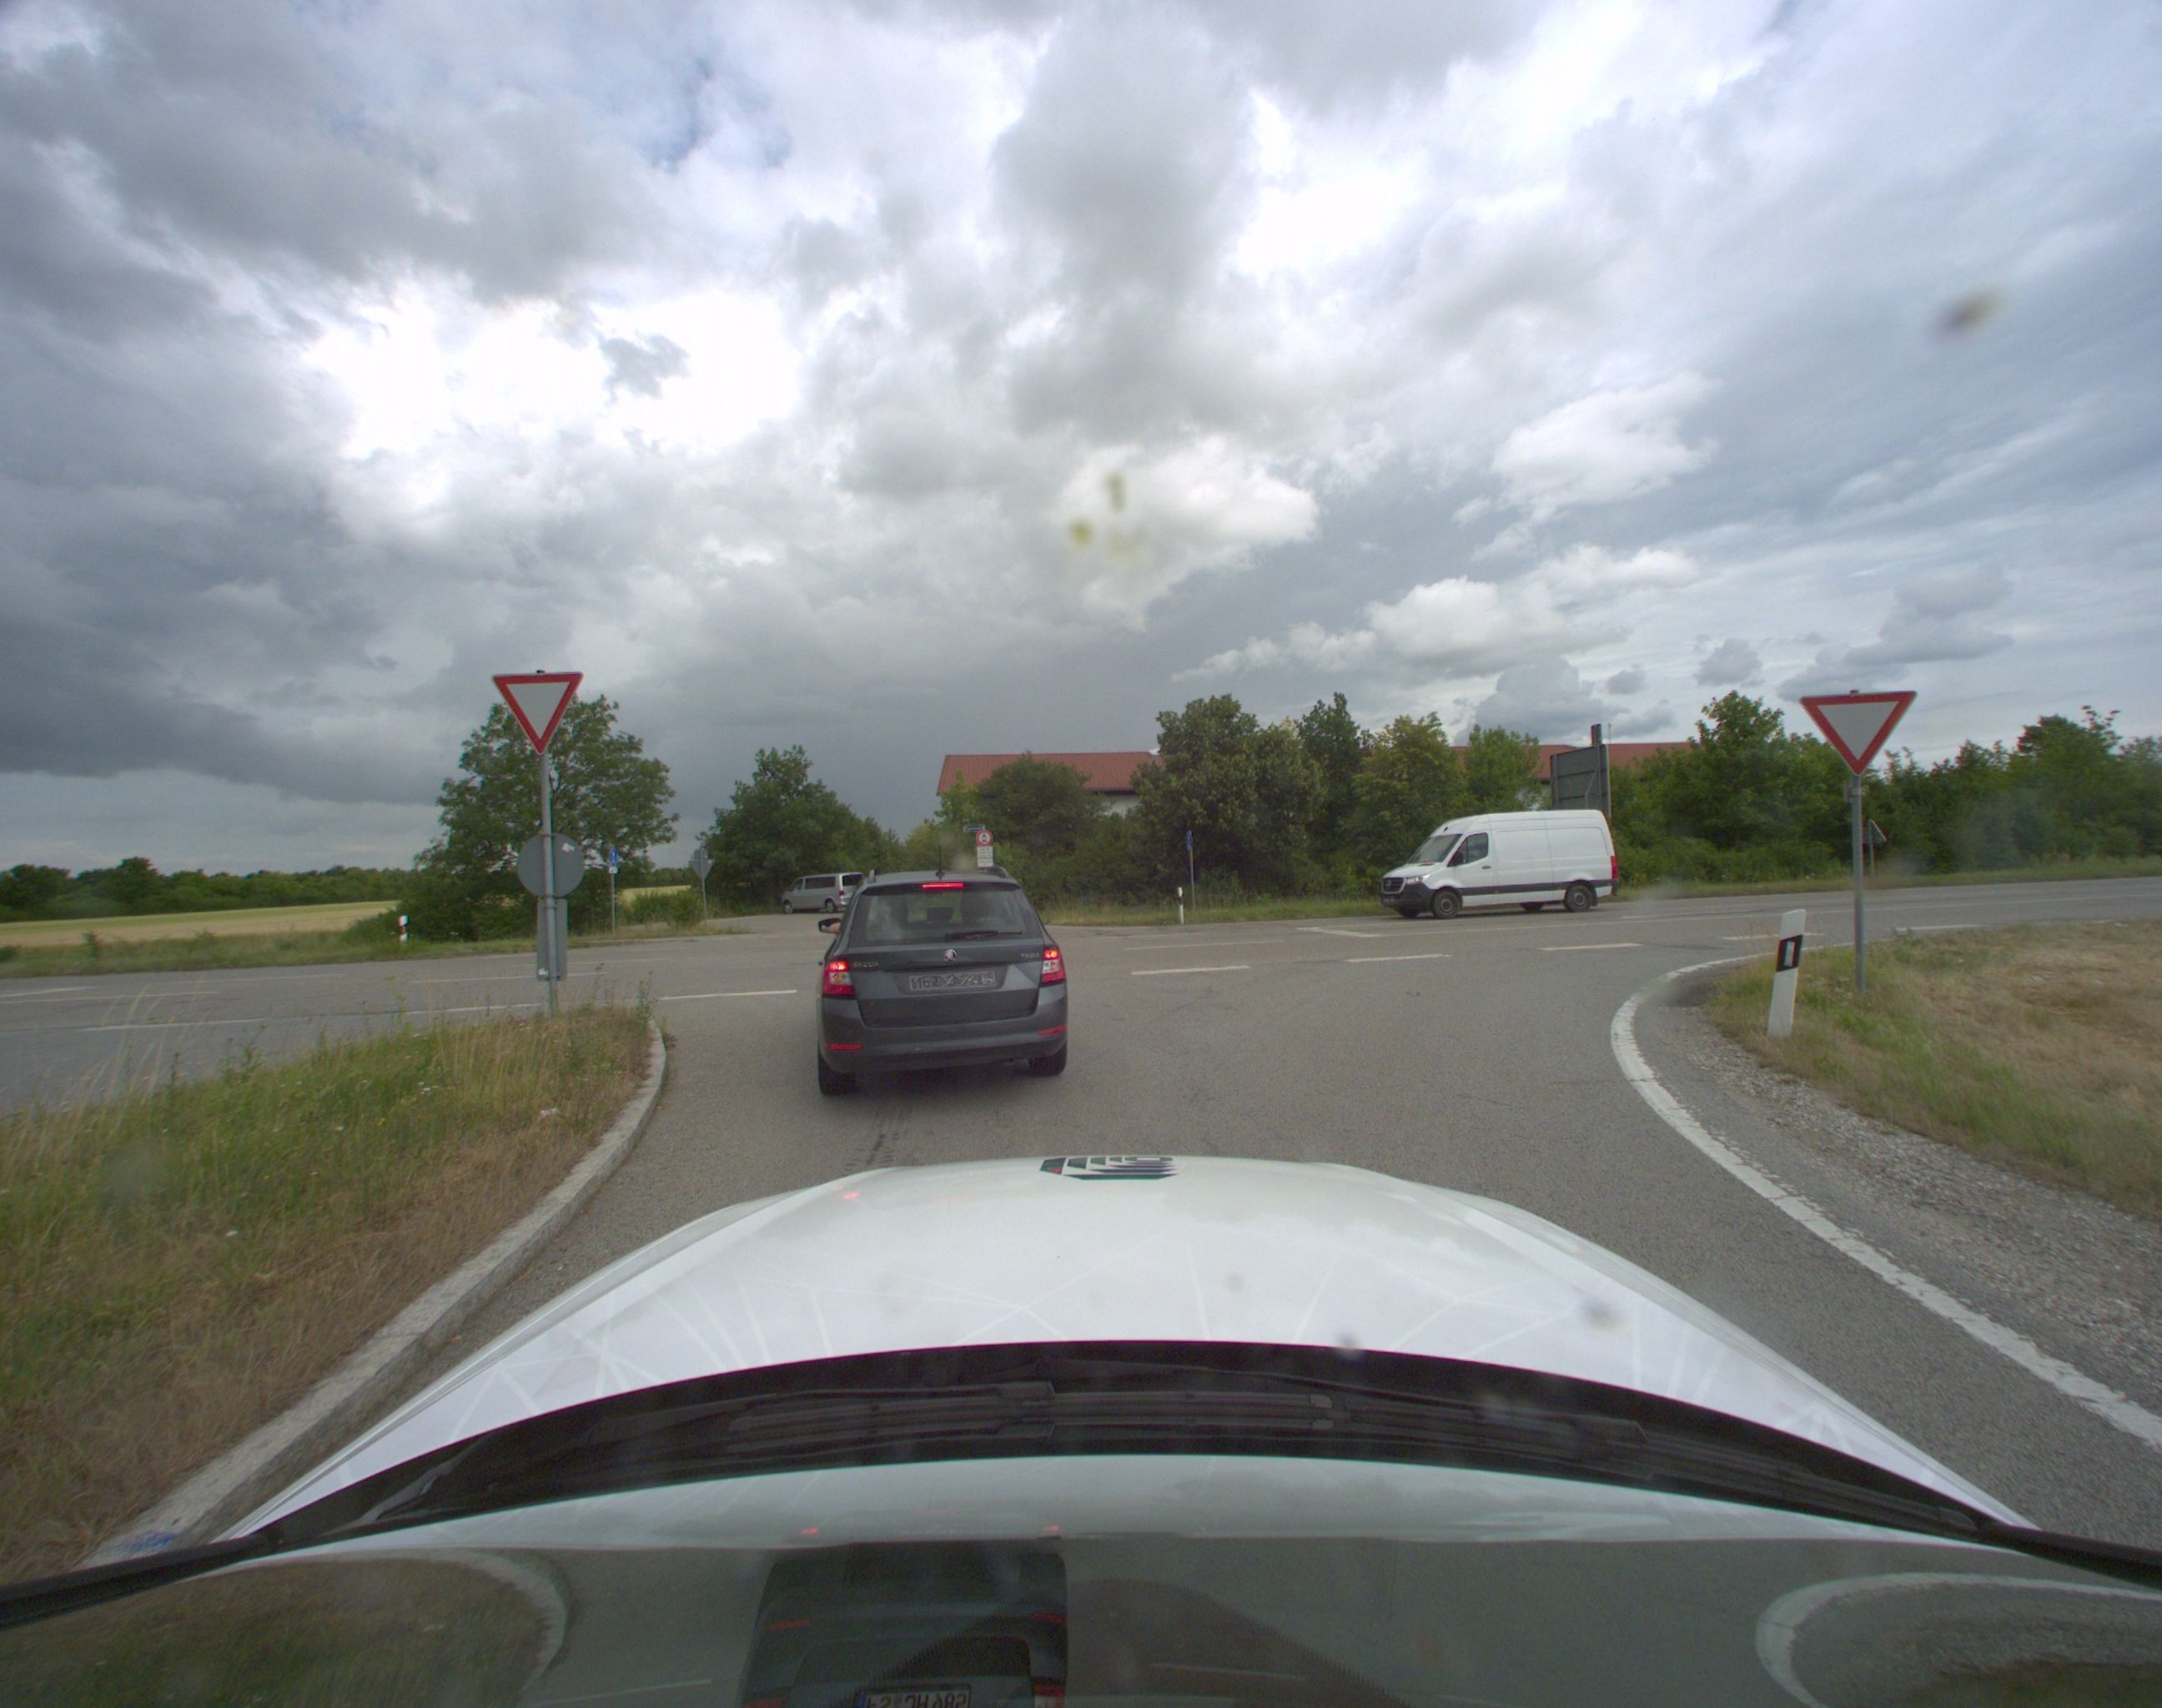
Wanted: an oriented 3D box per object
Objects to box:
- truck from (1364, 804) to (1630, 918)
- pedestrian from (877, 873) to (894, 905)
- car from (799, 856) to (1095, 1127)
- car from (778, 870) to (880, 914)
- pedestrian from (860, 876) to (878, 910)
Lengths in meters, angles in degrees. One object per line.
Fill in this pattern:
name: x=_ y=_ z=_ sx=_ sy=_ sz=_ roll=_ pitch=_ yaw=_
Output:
truck: x=10.708 y=0.178 z=21.144 sx=5.992 sy=2.576 sz=1.994 roll=-2 pitch=-2 yaw=-8
pedestrian: x=-10.400 y=1.851 z=43.278 sx=0.578 sy=1.682 sz=0.569 roll=-3 pitch=0 yaw=19
car: x=-1.204 y=0.820 z=6.551 sx=1.679 sy=1.463 sz=3.688 roll=-1 pitch=-1 yaw=-15
car: x=-13.093 y=1.986 z=42.182 sx=4.851 sy=2.013 sz=2.357 roll=-3 pitch=0 yaw=32
pedestrian: x=-10.823 y=1.992 z=41.617 sx=0.523 sy=1.725 sz=0.646 roll=-3 pitch=0 yaw=31
